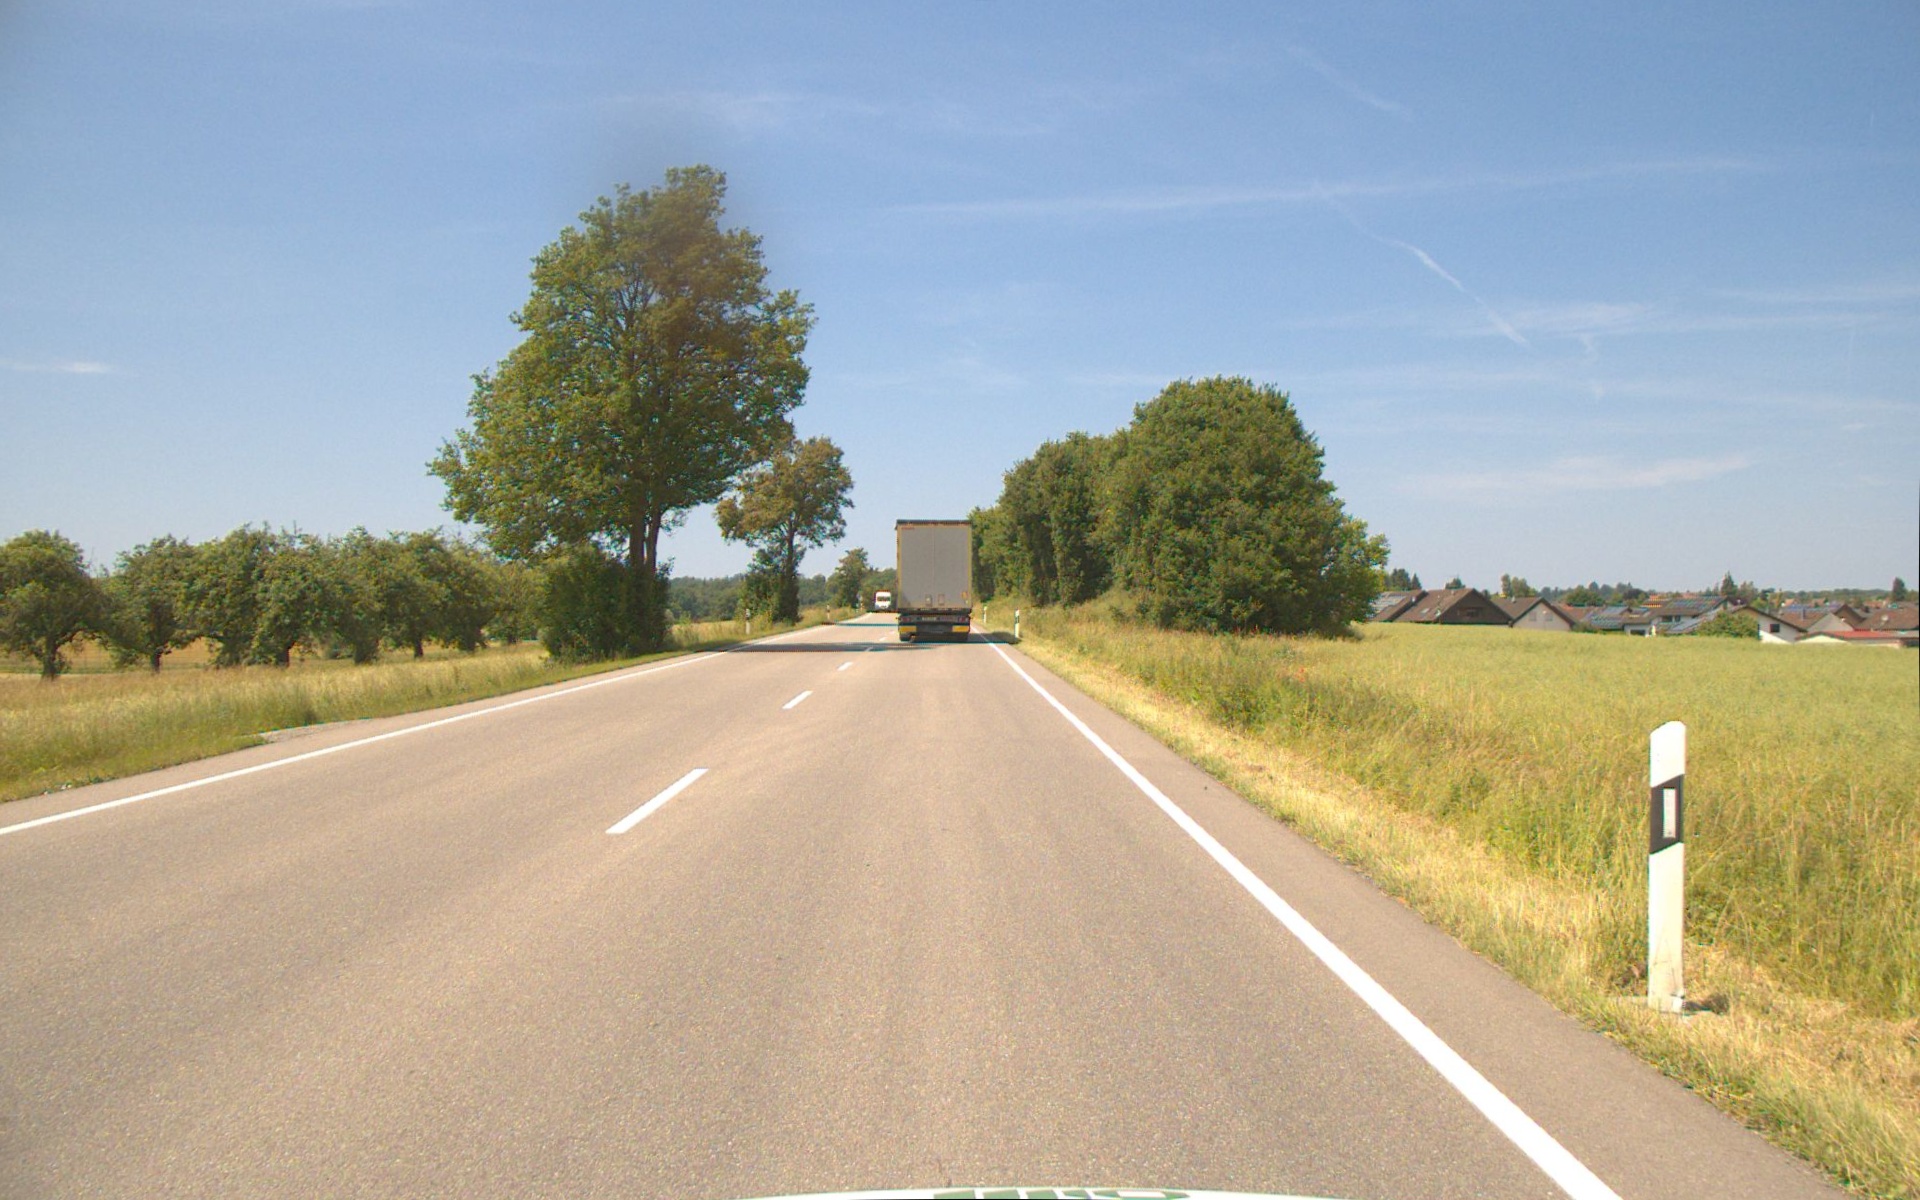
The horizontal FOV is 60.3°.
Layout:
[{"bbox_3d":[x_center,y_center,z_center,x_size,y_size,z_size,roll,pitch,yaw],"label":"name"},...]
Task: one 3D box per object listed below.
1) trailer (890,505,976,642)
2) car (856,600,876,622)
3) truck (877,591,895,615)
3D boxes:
[{"bbox_3d":[-1.035,-0.860,60.804,2.809,4.478,13.489,0,0,-1],"label":"trailer"},{"bbox_3d":[-9.027,1.010,159.087,1.836,2.049,4.072,1,0,-3],"label":"car"},{"bbox_3d":[-9.613,0.398,213.910,1.978,2.921,7.523,-1,0,-5],"label":"truck"}]
